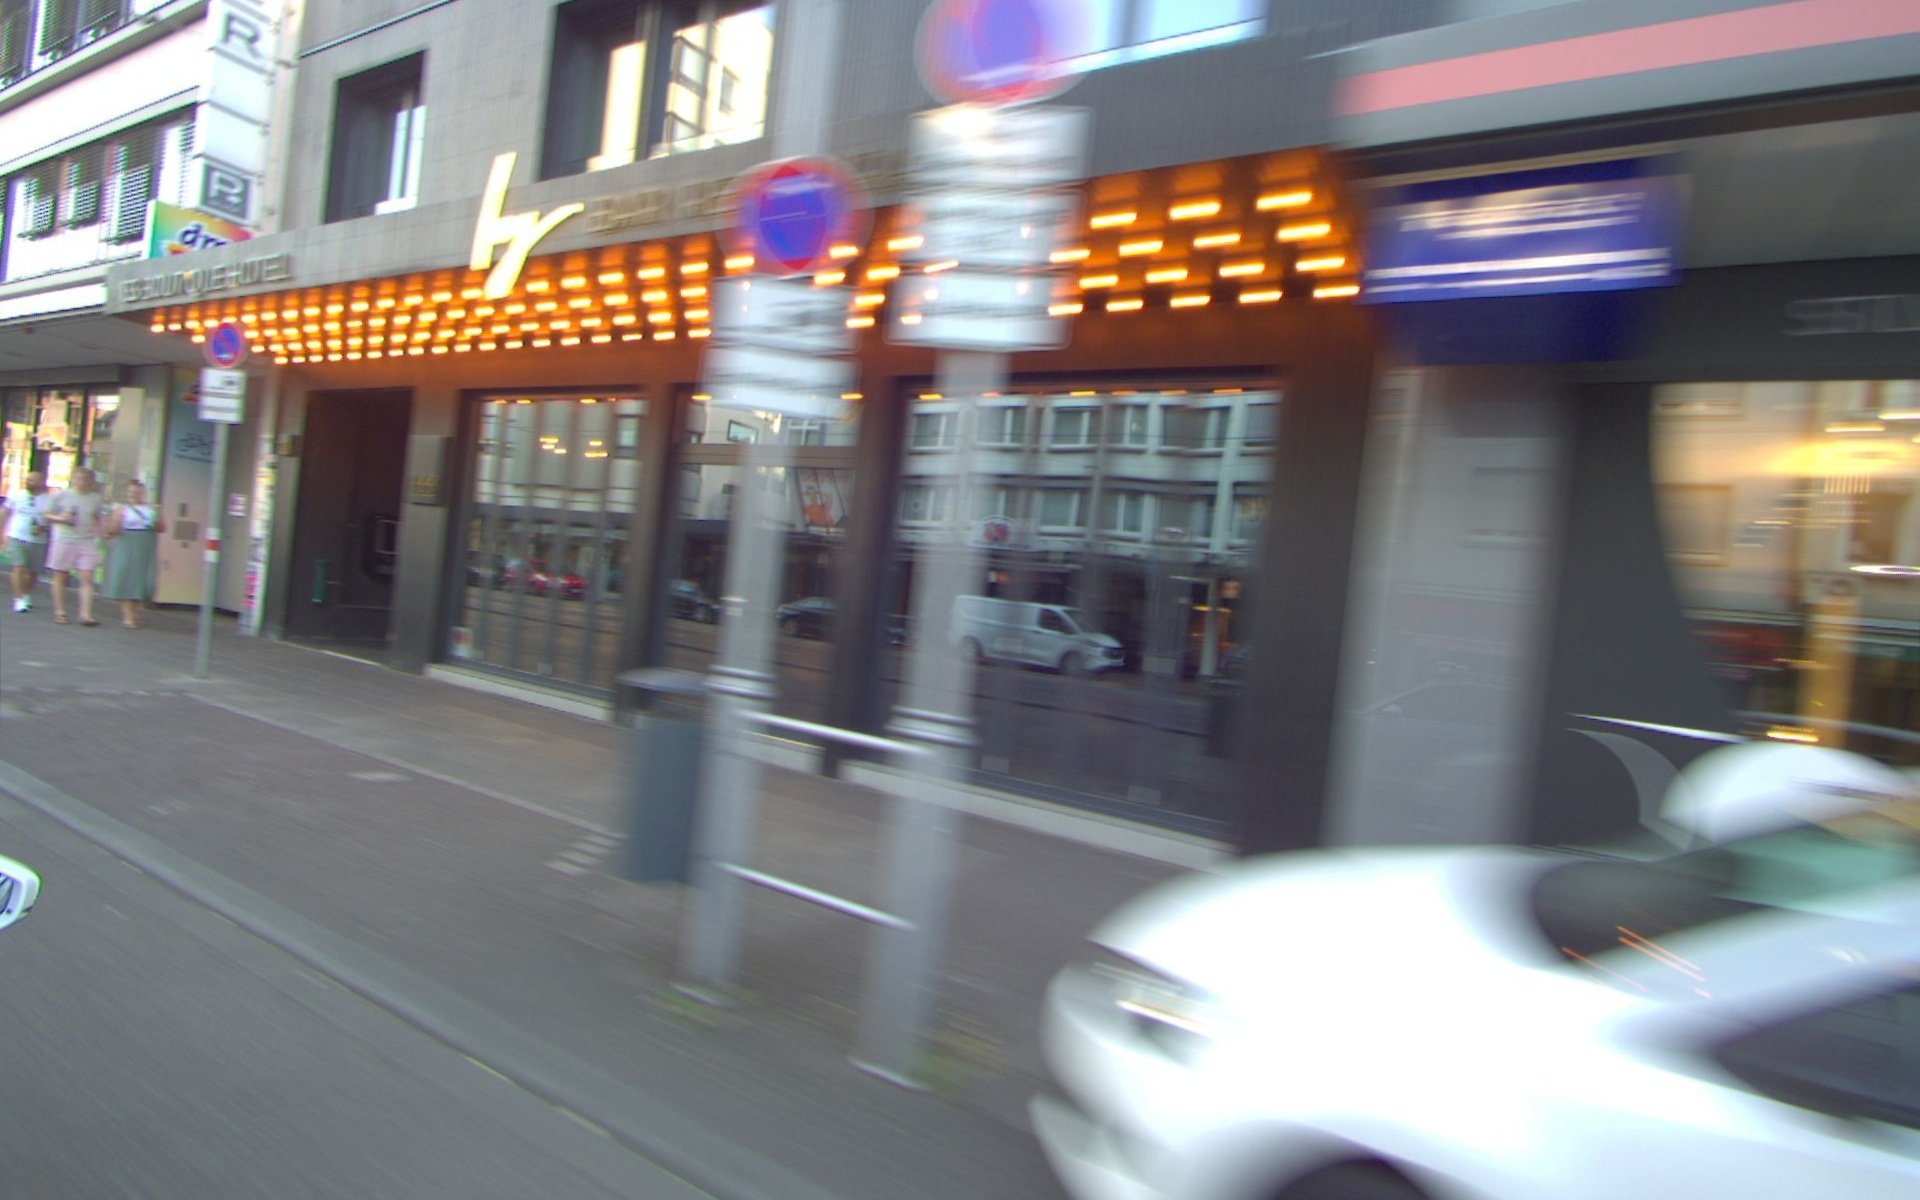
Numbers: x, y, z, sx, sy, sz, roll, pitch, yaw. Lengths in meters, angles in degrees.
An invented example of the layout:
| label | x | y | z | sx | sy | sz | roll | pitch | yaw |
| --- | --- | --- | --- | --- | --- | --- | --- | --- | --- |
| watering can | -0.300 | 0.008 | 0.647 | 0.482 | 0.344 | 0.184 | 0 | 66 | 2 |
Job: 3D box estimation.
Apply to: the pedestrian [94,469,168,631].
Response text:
| label | x | y | z | sx | sy | sz | roll | pitch | yaw |
| --- | --- | --- | --- | --- | --- | --- | --- | --- | --- |
| pedestrian | -10.179 | -0.603 | 12.356 | 0.414 | 1.923 | 0.452 | 7 | 1 | 31 |

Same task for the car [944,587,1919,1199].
| label | x | y | z | sx | sy | sz | roll | pitch | yaw |
| --- | --- | --- | --- | --- | --- | --- | --- | --- | --- |
| car | 2.061 | 0.973 | 1.849 | 3.822 | 1.563 | 1.678 | 7 | 1 | 33 |

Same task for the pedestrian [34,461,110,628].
| label | x | y | z | sx | sy | sz | roll | pitch | yaw |
| --- | --- | --- | --- | --- | --- | --- | --- | --- | --- |
| pedestrian | -10.623 | -0.658 | 12.038 | 0.414 | 1.923 | 0.455 | 7 | 1 | 31 |

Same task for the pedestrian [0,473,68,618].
| label | x | y | z | sx | sy | sz | roll | pitch | yaw |
| --- | --- | --- | --- | --- | --- | --- | --- | --- | --- |
| pedestrian | -12.063 | -0.694 | 12.952 | 0.595 | 1.775 | 0.609 | 7 | 1 | 31 |
